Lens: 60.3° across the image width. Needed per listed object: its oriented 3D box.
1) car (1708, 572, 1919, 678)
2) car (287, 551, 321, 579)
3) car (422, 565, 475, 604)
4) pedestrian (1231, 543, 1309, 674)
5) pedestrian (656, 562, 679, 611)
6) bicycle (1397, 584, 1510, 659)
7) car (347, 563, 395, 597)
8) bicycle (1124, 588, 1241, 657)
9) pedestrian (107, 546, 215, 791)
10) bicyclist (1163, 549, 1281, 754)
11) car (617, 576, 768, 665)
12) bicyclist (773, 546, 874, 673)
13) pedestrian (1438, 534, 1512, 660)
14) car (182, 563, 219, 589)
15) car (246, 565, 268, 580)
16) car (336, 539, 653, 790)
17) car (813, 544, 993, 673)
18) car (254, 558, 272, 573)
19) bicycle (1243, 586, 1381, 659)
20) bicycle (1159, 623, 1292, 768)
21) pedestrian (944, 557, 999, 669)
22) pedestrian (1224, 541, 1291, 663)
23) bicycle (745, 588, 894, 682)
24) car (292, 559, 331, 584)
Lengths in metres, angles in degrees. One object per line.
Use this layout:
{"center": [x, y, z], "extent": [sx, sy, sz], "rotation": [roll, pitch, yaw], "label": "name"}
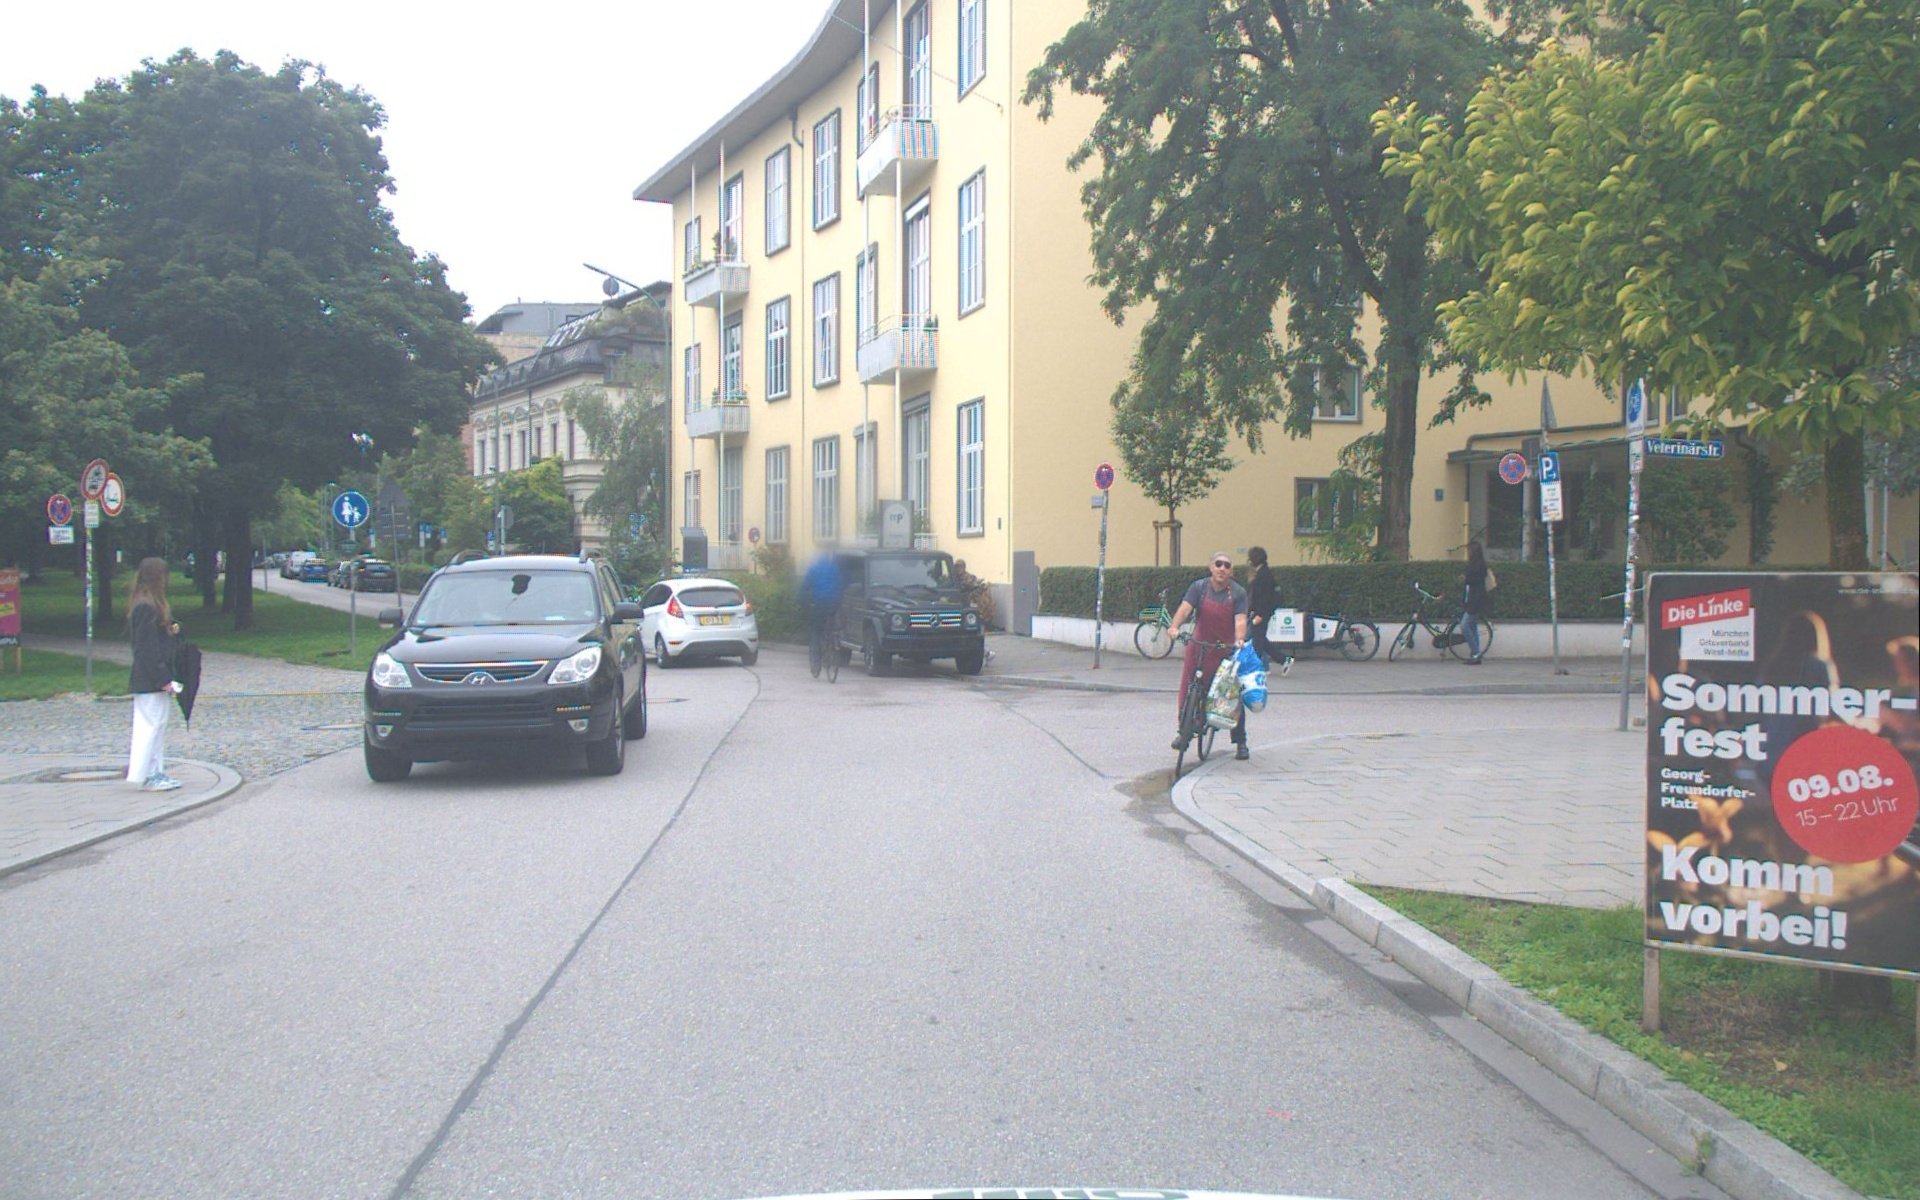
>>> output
{"center": [12.817, 0.339, 22.834], "extent": [4.233, 1.391, 1.661], "rotation": [0, -2, -2], "label": "car"}
{"center": [-47.278, -2.523, 119.157], "extent": [2.040, 2.000, 4.938], "rotation": [-1, 1, -25], "label": "car"}
{"center": [-21.581, -0.689, 69.777], "extent": [1.626, 1.585, 3.530], "rotation": [-1, 1, -26], "label": "car"}
{"center": [4.433, 0.114, 23.715], "extent": [0.970, 1.840, 0.659], "rotation": [-1, 1, -3], "label": "pedestrian"}
{"center": [-10.383, -0.490, 58.715], "extent": [0.623, 1.713, 0.692], "rotation": [-2, 1, -27], "label": "pedestrian"}
{"center": [7.757, 0.334, 26.018], "extent": [1.649, 1.150, 0.460], "rotation": [0, 1, -5], "label": "bicycle"}
{"center": [-31.093, -1.078, 87.255], "extent": [1.773, 1.709, 3.962], "rotation": [-1, 1, -29], "label": "car"}
{"center": [3.681, 0.386, 27.479], "extent": [1.913, 1.103, 0.526], "rotation": [-2, -1, 40], "label": "bicycle"}
{"center": [-5.838, 0.478, 12.116], "extent": [0.533, 1.726, 0.664], "rotation": [-2, 1, -15], "label": "pedestrian"}
{"center": [2.162, 0.403, 13.786], "extent": [0.857, 1.637, 1.050], "rotation": [0, 1, 2], "label": "bicyclist"}
{"center": [-4.720, 0.301, 28.783], "extent": [1.724, 1.431, 3.699], "rotation": [-1, 1, -24], "label": "car"}
{"center": [-1.987, 0.122, 24.054], "extent": [1.194, 1.795, 0.911], "rotation": [1, 1, 44], "label": "bicyclist"}
{"center": [7.880, -0.050, 25.323], "extent": [0.833, 1.890, 0.766], "rotation": [-1, 0, -5], "label": "pedestrian"}
{"center": [-49.479, -1.594, 107.742], "extent": [1.971, 1.628, 4.427], "rotation": [-1, 1, -28], "label": "car"}
{"center": [-81.386, -3.191, 191.577], "extent": [1.964, 1.628, 4.443], "rotation": [-1, 1, -19], "label": "car"}
{"center": [-3.713, 0.398, 14.022], "extent": [1.956, 1.749, 4.607], "rotation": [-1, 1, -8], "label": "car"}
{"center": [-1.046, 0.073, 27.293], "extent": [1.844, 1.920, 4.597], "rotation": [-1, 1, -17], "label": "car"}
{"center": [-83.059, -4.086, 197.052], "extent": [1.776, 1.687, 4.224], "rotation": [-1, 1, -21], "label": "car"}
{"center": [5.600, 0.348, 26.357], "extent": [2.121, 1.135, 0.641], "rotation": [0, 1, 13], "label": "bicycle"}
{"center": [2.182, 0.752, 13.872], "extent": [0.858, 1.037, 2.192], "rotation": [0, 1, 3], "label": "bicycle"}
{"center": [0.181, 0.202, 27.088], "extent": [0.831, 1.788, 0.953], "rotation": [-1, 1, -2], "label": "pedestrian"}
{"center": [4.387, 0.018, 24.448], "extent": [0.810, 1.776, 0.740], "rotation": [0, 1, -5], "label": "pedestrian"}
{"center": [-2.069, 0.479, 24.148], "extent": [2.283, 1.274, 0.917], "rotation": [1, 2, 45], "label": "bicycle"}
{"center": [-43.426, -1.926, 110.709], "extent": [1.971, 1.628, 4.214], "rotation": [-1, 1, -29], "label": "car"}
